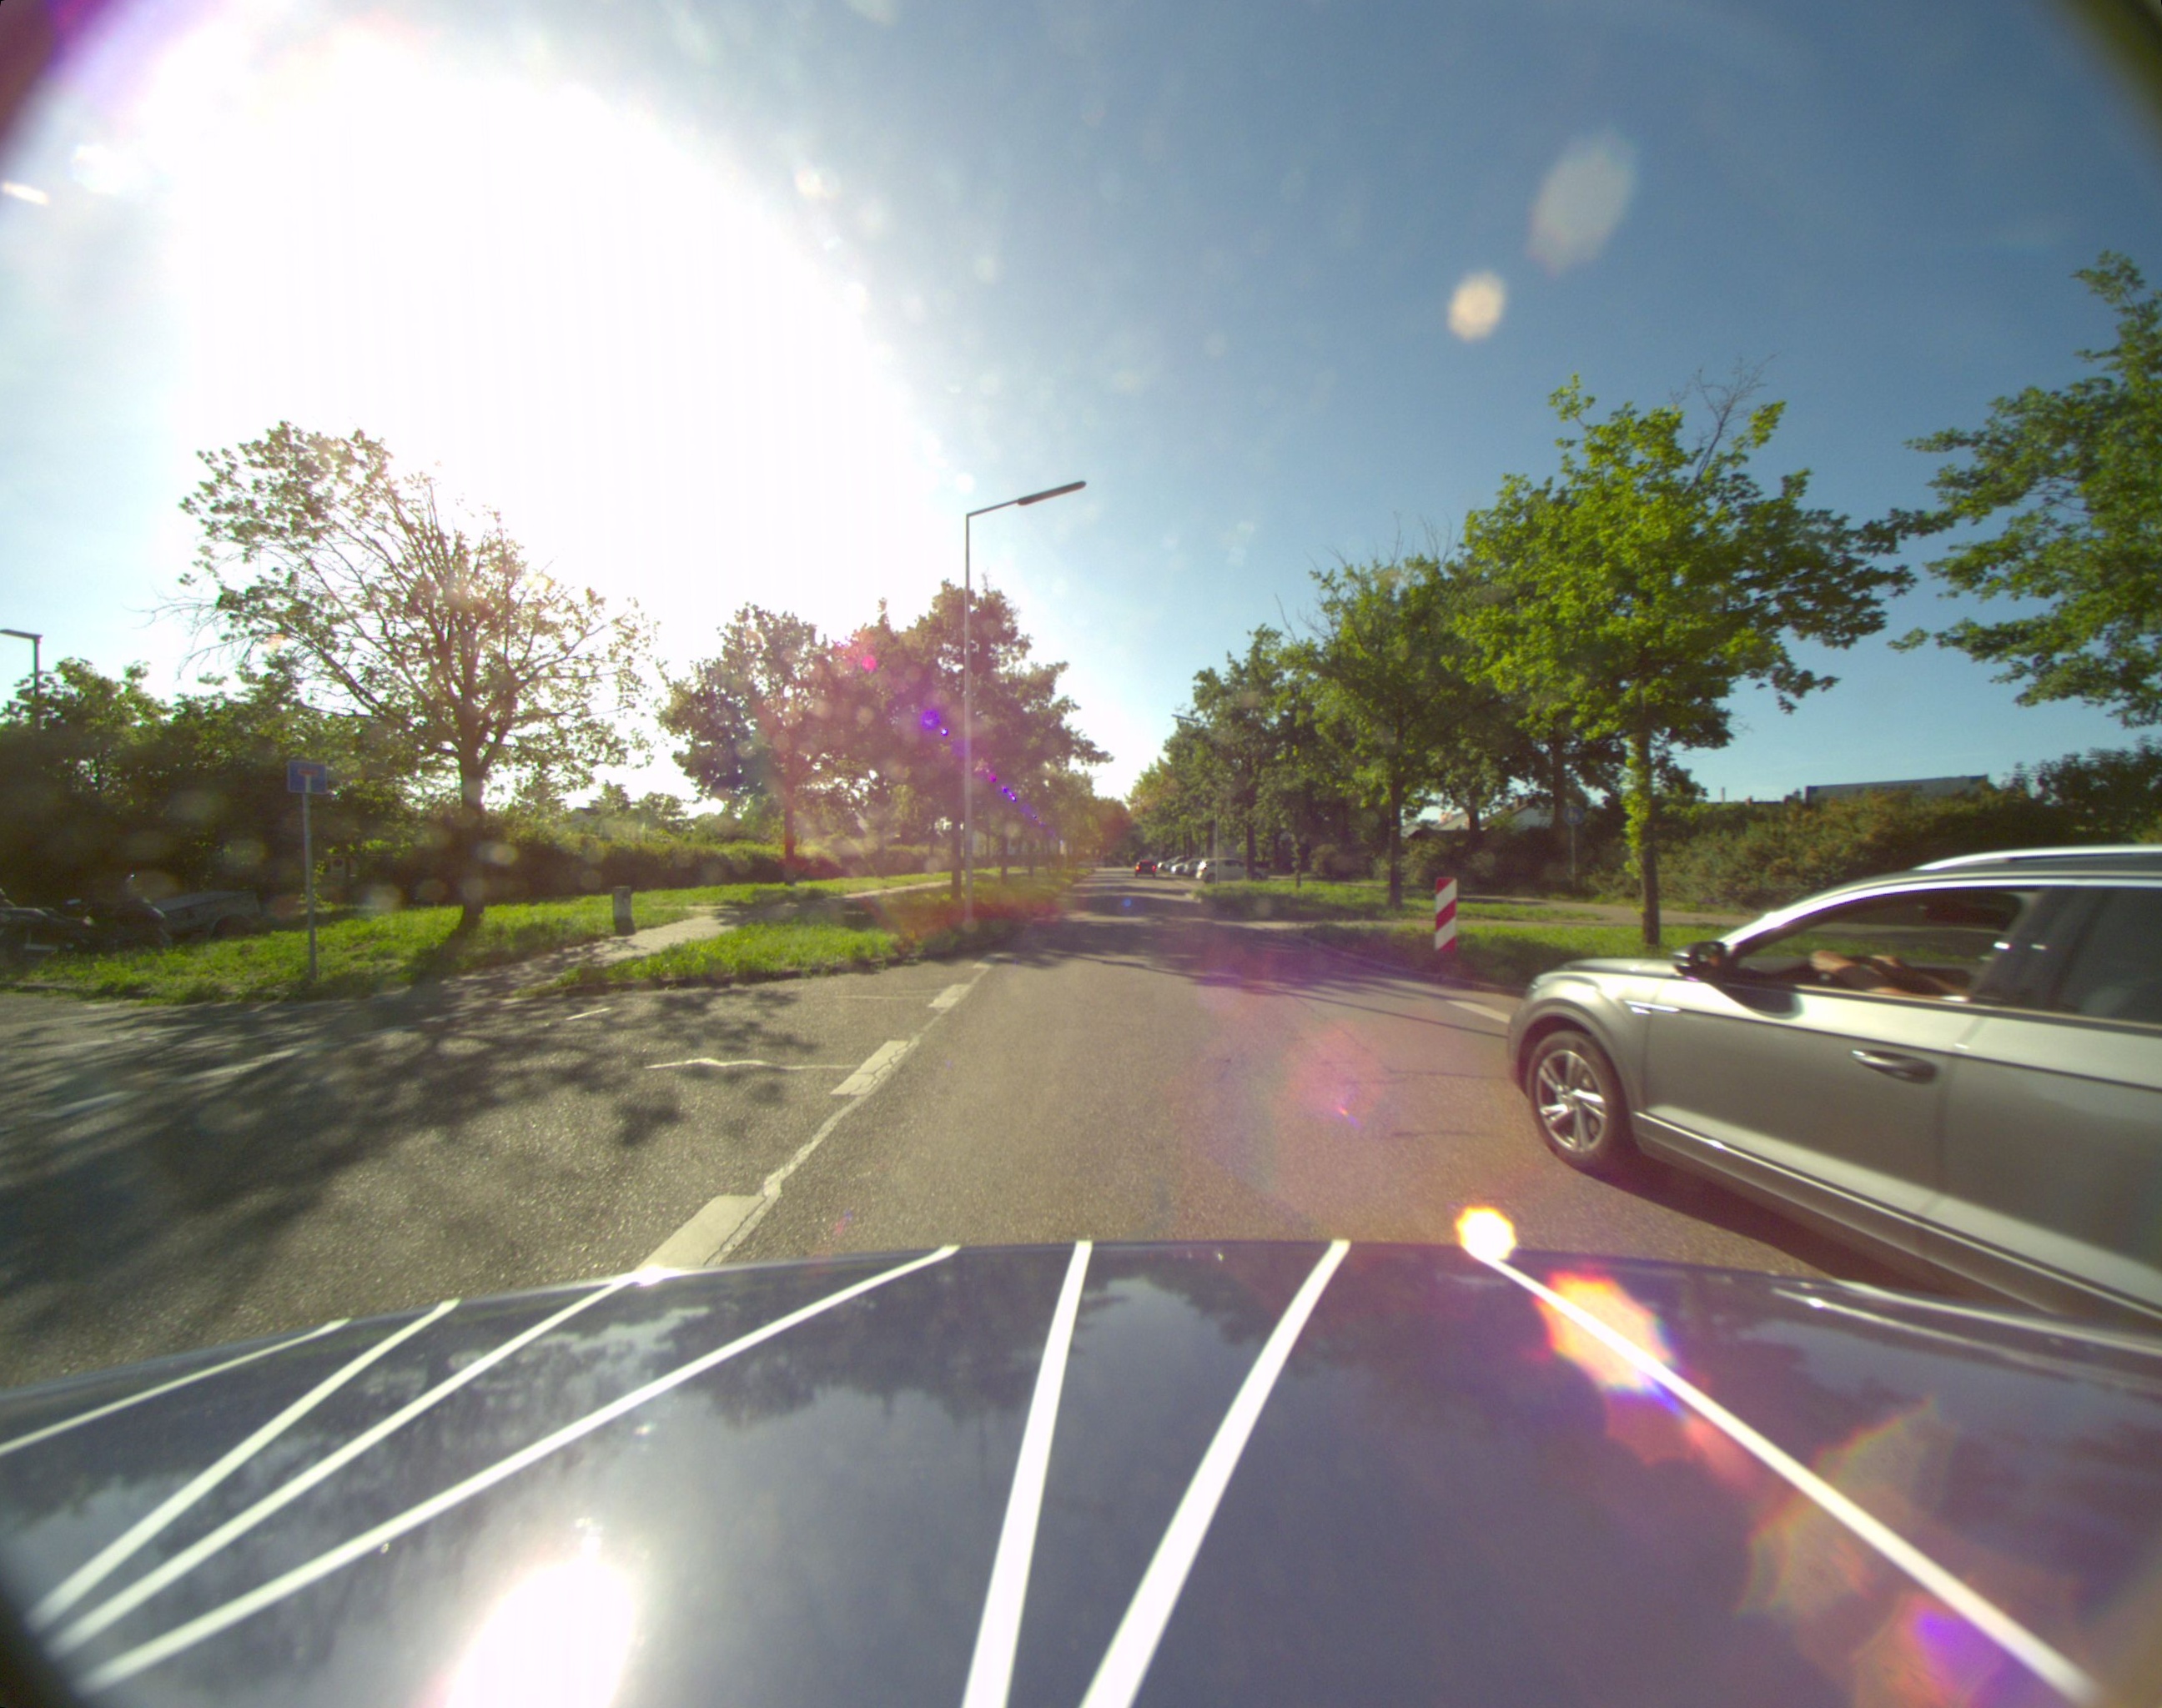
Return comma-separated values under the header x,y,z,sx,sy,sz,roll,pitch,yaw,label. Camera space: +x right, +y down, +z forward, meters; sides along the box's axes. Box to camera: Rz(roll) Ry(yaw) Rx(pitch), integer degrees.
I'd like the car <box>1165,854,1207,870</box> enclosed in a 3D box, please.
x,y,z,sx,sy,sz,roll,pitch,yaw,label
10.868,0.805,78.678,4.145,1.547,1.866,-2,0,4,car

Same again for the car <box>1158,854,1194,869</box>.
x,y,z,sx,sy,sz,roll,pitch,yaw,label
11.161,0.824,89.193,4.071,1.633,1.877,-2,0,5,car

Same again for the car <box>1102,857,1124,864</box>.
x,y,z,sx,sy,sz,roll,pitch,yaw,label
6.706,1.332,159.605,4.510,1.470,1.942,0,0,4,car

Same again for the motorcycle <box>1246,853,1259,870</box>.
x,y,z,sx,sy,sz,roll,pitch,yaw,label
15.315,0.677,68.069,0.739,1.424,1.991,-4,0,3,motorcycle

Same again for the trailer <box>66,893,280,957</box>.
x,y,z,sx,sy,sz,roll,pitch,yaw,label
-17.194,1.307,14.491,1.581,0.863,2.055,0,4,13,trailer

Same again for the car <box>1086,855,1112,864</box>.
x,y,z,sx,sy,sz,roll,pitch,yaw,label
3.124,0.950,133.633,4.510,1.470,1.942,0,0,4,car

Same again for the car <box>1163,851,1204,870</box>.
x,y,z,sx,sy,sz,roll,pitch,yaw,label
11.264,0.707,83.792,4.237,1.872,1.999,-2,0,2,car

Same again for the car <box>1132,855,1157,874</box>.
x,y,z,sx,sy,sz,roll,pitch,yaw,label
5.426,0.918,65.437,1.770,1.519,4.495,1,0,-1,car

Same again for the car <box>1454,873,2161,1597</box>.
x,y,z,sx,sy,sz,roll,pitch,yaw,label
3.257,0.883,2.408,1.809,1.527,4.495,1,0,-2,car

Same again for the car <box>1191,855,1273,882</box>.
x,y,z,sx,sy,sz,roll,pitch,yaw,label
9.402,0.887,47.558,4.638,1.549,2.191,-2,0,-1,car

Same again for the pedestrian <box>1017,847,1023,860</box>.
x,y,z,sx,sy,sz,roll,pitch,yaw,label
-9.323,-0.013,116.516,0.833,2.002,0.611,0,0,1,pedestrian

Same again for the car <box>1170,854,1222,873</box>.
x,y,z,sx,sy,sz,roll,pitch,yaw,label
10.320,0.861,68.526,4.422,1.547,2.089,-2,0,4,car

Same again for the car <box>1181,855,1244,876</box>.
x,y,z,sx,sy,sz,roll,pitch,yaw,label
10.037,0.880,58.242,4.423,1.502,2.088,-2,0,2,car

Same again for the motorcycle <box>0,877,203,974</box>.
x,y,z,sx,sy,sz,roll,pitch,yaw,label
-16.406,1.115,12.533,0.664,1.225,2.407,0,4,12,motorcycle

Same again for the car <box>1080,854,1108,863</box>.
x,y,z,sx,sy,sz,roll,pitch,yaw,label
2.205,0.788,125.007,4.510,1.470,1.942,0,0,4,car
